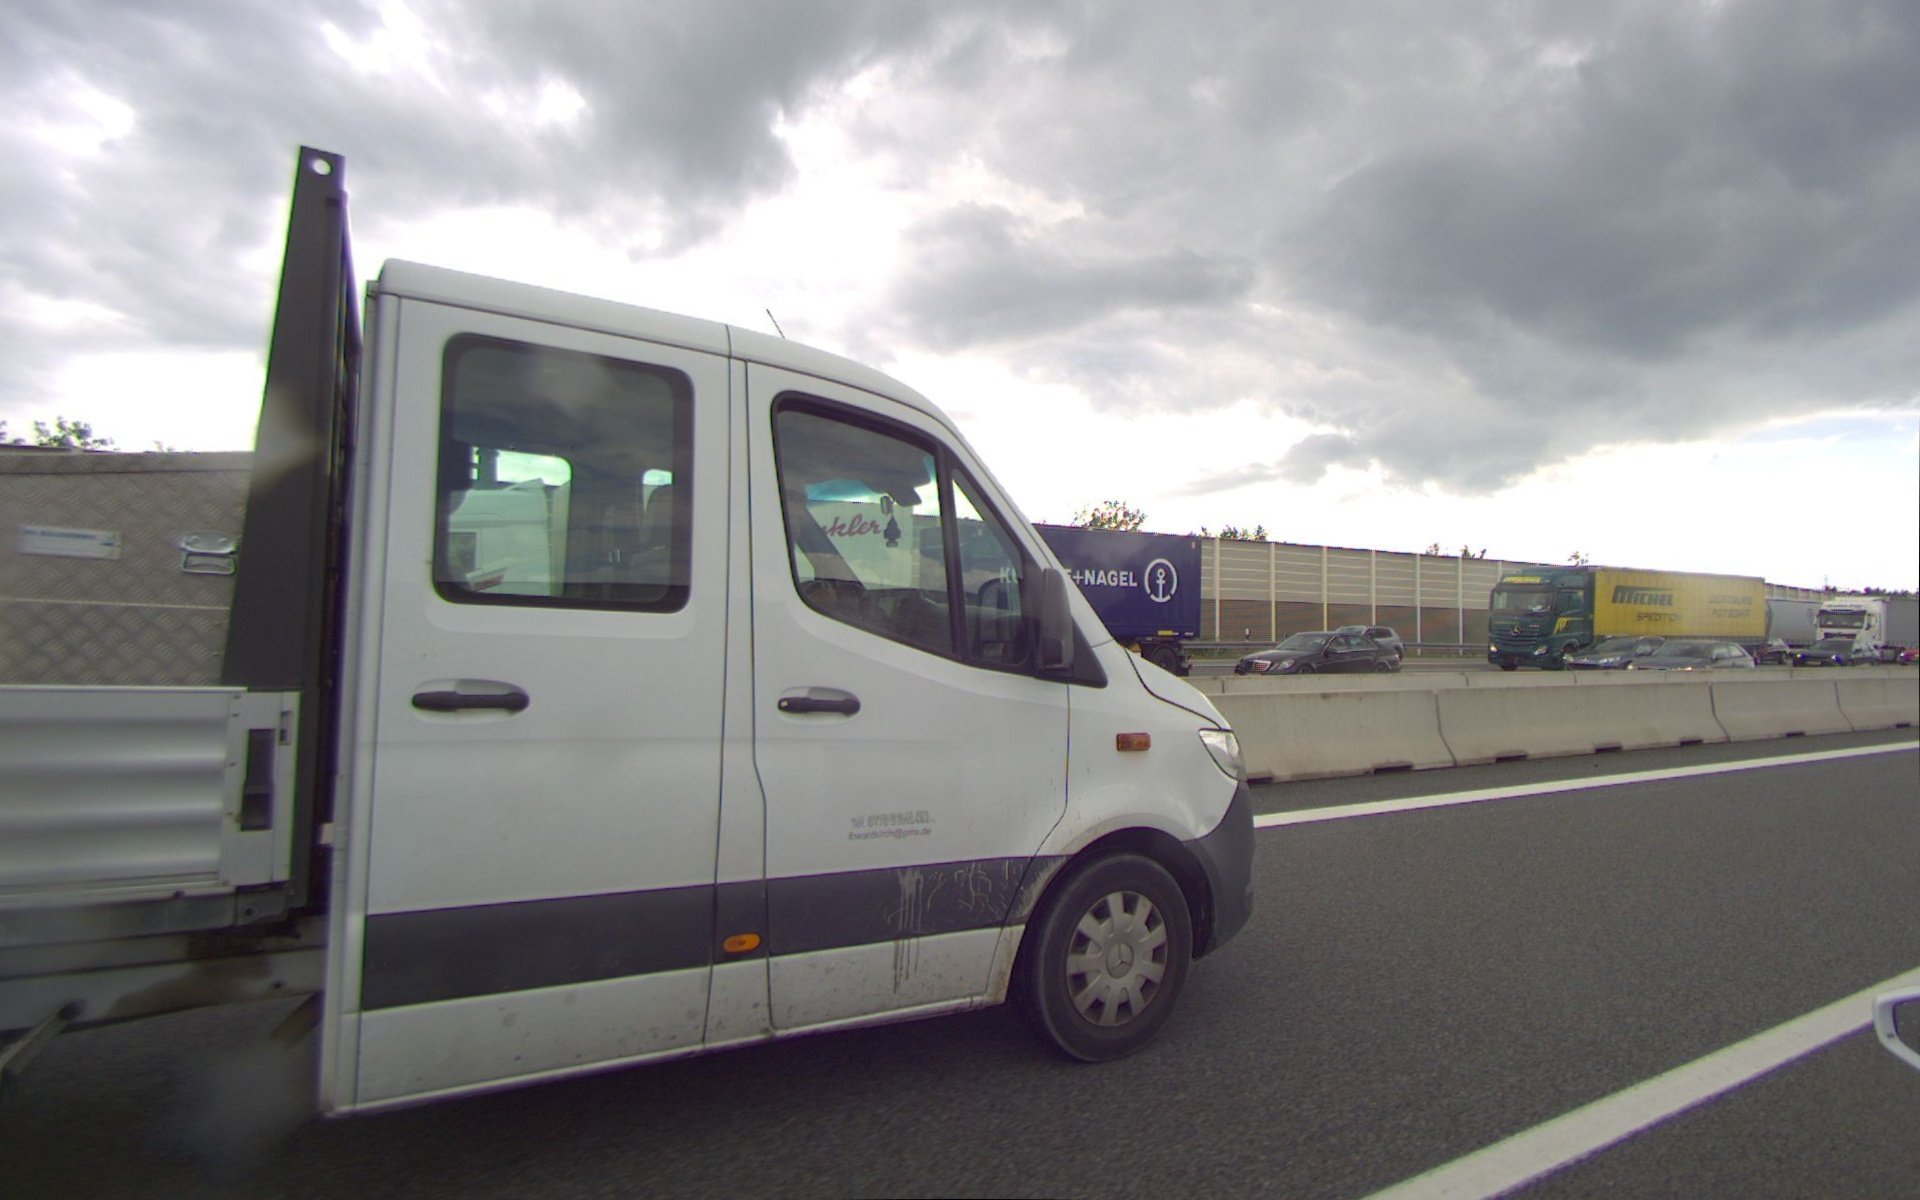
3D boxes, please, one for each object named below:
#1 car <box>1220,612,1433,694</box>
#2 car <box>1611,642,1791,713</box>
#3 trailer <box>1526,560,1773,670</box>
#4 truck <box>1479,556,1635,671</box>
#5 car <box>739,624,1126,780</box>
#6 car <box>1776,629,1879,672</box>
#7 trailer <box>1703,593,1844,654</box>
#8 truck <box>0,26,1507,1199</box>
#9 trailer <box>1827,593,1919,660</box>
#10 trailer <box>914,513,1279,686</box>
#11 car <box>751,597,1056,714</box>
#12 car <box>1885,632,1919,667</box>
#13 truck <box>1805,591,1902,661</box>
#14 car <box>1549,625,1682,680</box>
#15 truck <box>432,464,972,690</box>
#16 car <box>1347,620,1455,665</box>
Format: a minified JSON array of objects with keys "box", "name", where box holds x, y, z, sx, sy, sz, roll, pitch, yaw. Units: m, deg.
[{"box":[9.521,1.318,25.932,5.741,1.917,2.050,1,-1,-31],"name":"car"},{"box":[20.818,2.086,28.131,5.741,1.778,2.050,1,-1,-31],"name":"car"},{"box":[29.182,0.764,42.083,14.284,4.085,2.748,2,-1,-31],"name":"trailer"},{"box":[22.759,0.574,38.253,5.659,4.088,2.732,2,-1,-30],"name":"truck"},{"box":[-0.308,1.423,15.582,5.741,2.029,2.050,1,-1,-31],"name":"car"},{"box":[36.537,2.095,42.290,4.360,1.722,2.051,1,-1,-31],"name":"car"},{"box":[57.715,1.746,71.100,13.692,4.085,2.923,2,-1,-29],"name":"trailer"},{"box":[-1.402,0.253,3.276,7.065,2.472,2.296,2,-1,-30],"name":"truck"},{"box":[61.209,1.799,65.215,14.277,4.085,2.749,2,-1,-29],"name":"trailer"},{"box":[3.892,0.102,26.937,9.998,3.992,2.918,1,-1,-30],"name":"trailer"},{"box":[-1.025,1.038,19.856,5.741,2.029,2.050,1,-1,-31],"name":"car"},{"box":[54.115,2.769,56.361,4.724,1.840,2.050,1,-1,-31],"name":"car"},{"box":[54.867,1.624,61.662,5.657,4.088,2.733,2,-1,-29],"name":"truck"},{"box":[21.935,1.722,33.602,4.360,1.722,2.051,1,-1,-31],"name":"car"},{"box":[-5.194,-0.280,21.754,10.933,3.998,2.924,1,-1,-30],"name":"truck"},{"box":[17.960,1.717,40.891,4.163,1.746,2.051,1,-1,-31],"name":"car"}]
